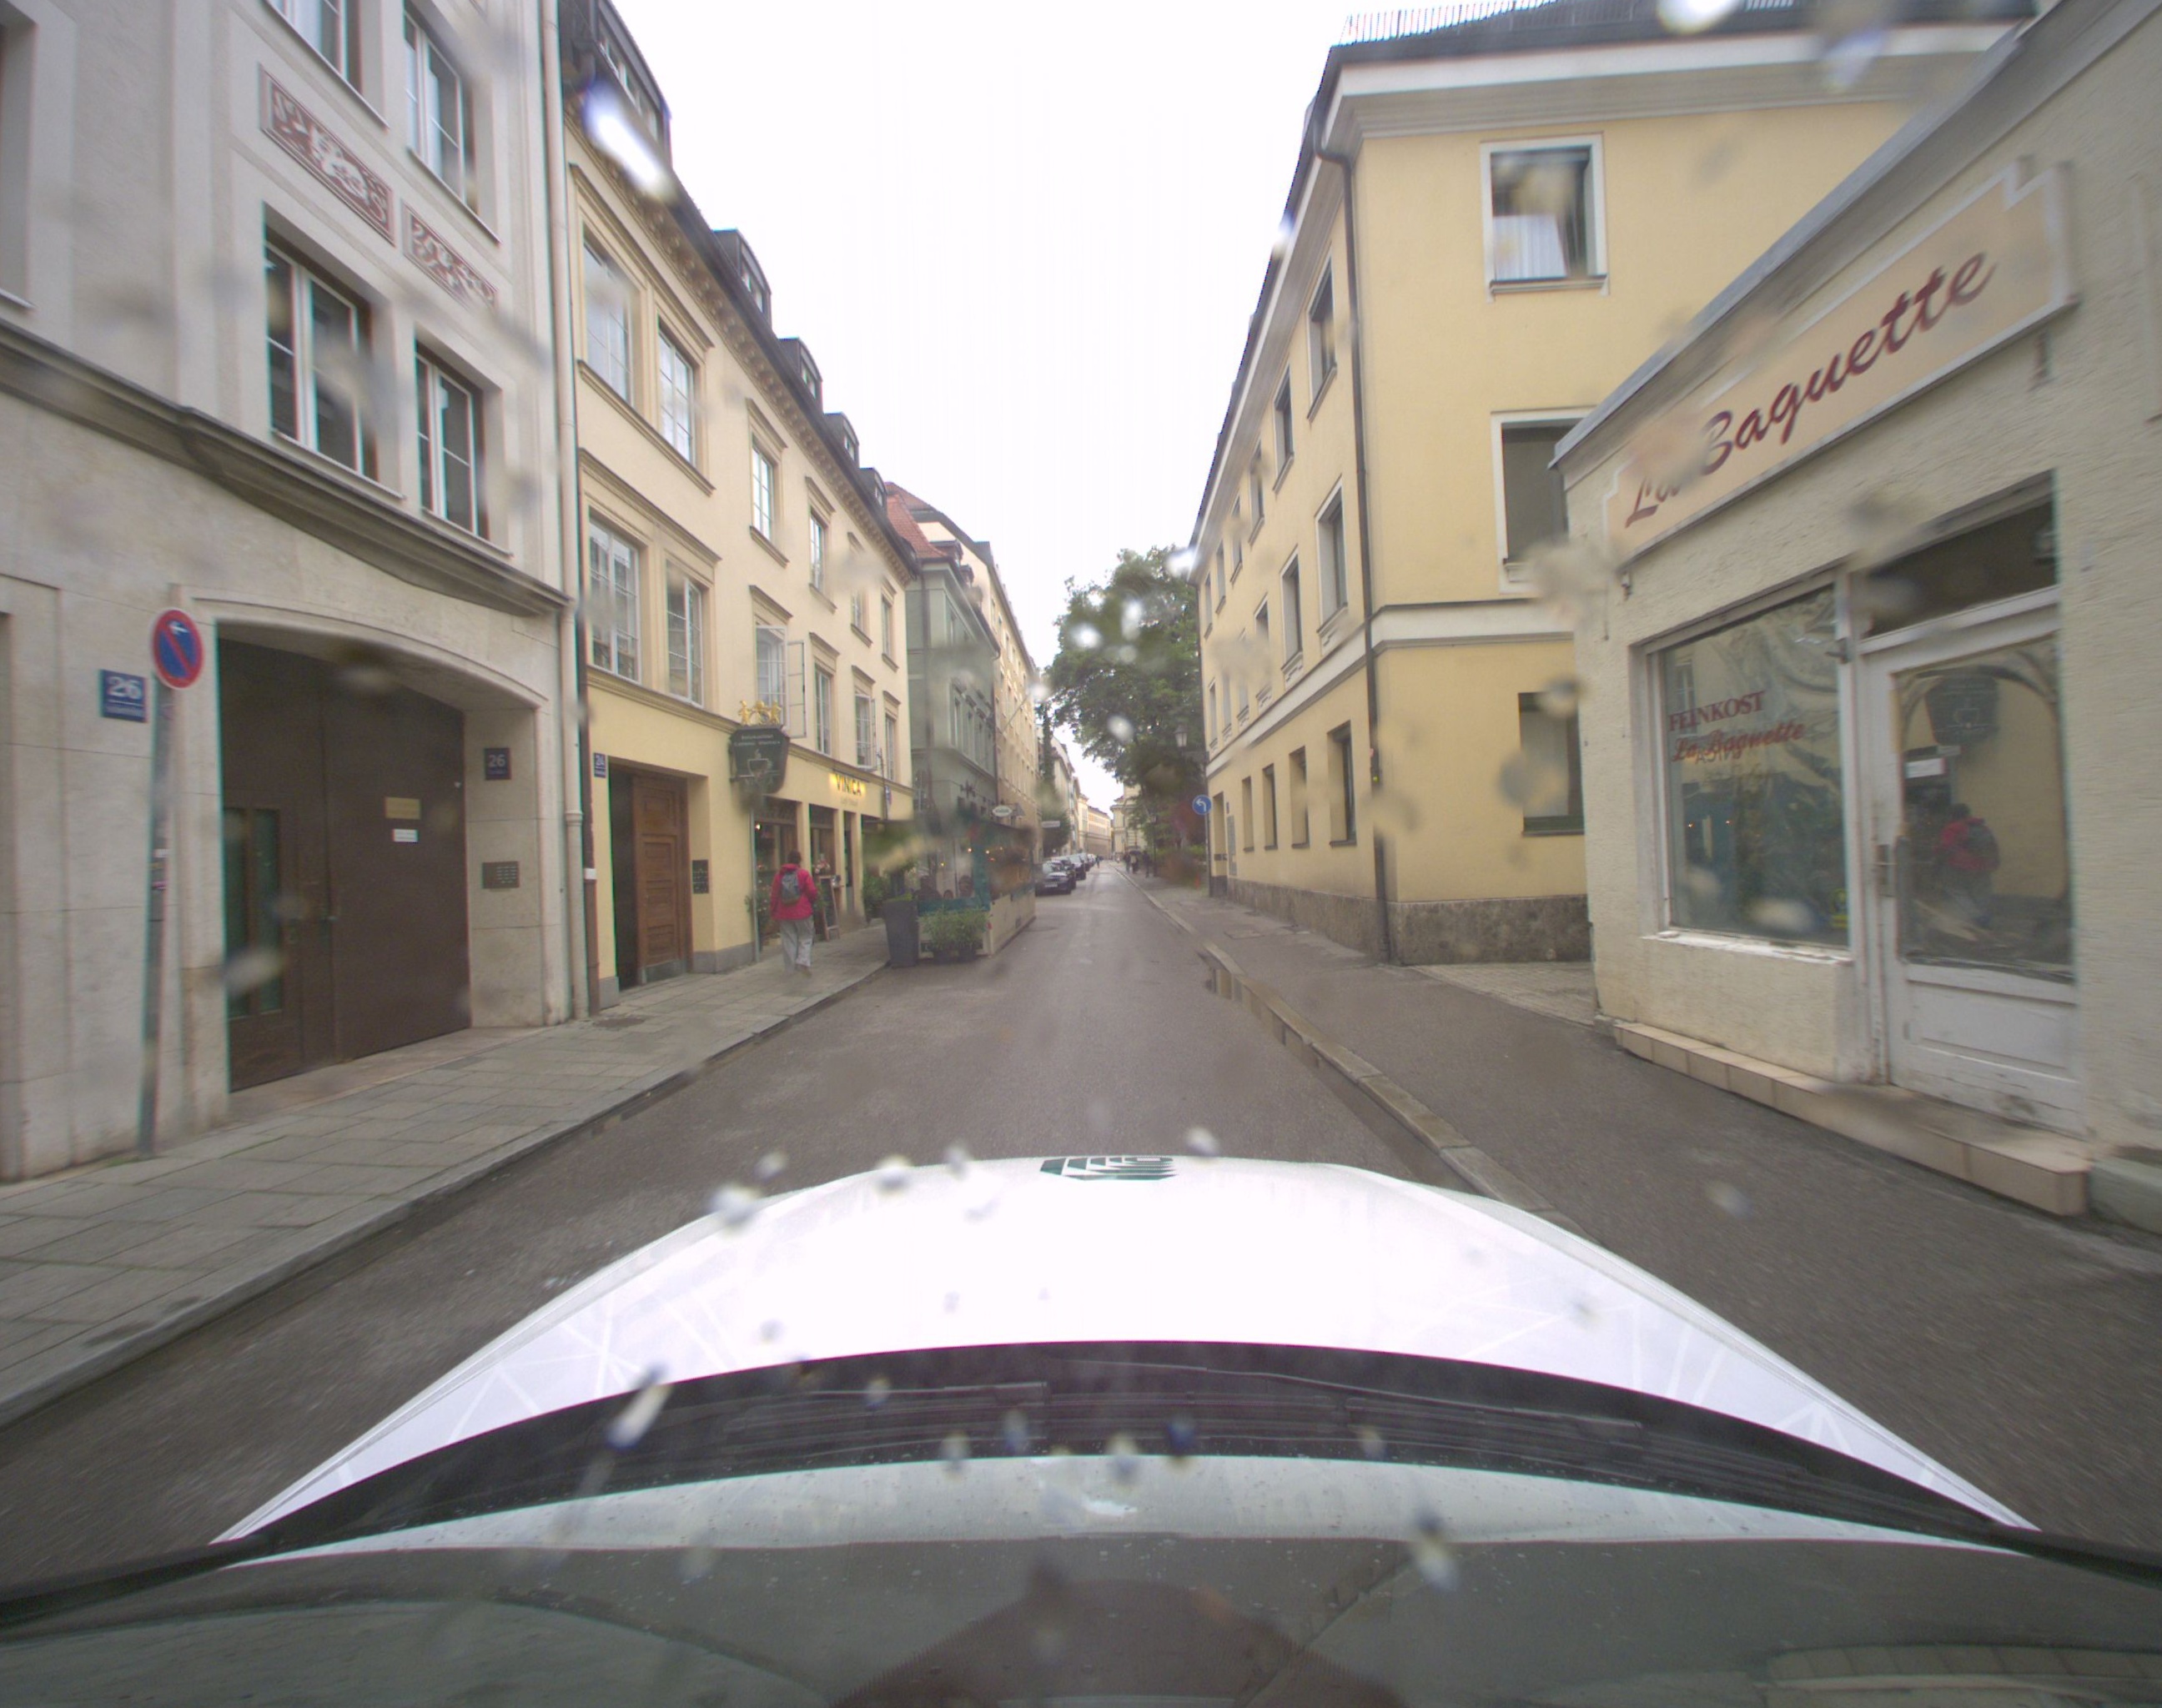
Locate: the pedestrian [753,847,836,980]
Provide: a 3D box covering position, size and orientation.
[{"bbox_3d":[-3.867,0.779,11.051,0.763,1.708,0.785,-3,0,-1],"label":"pedestrian"}]

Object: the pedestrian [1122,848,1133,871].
[{"bbox_3d":[3.732,0.423,65.194,0.790,1.802,0.903,-2,0,2],"label":"pedestrian"}]

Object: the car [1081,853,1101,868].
[{"bbox_3d":[1.083,0.632,83.942,1.771,1.466,3.546,-2,0,4],"label":"car"}]

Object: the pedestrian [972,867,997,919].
[{"bbox_3d":[-2.414,0.967,20.410,0.508,1.237,0.630,-1,0,-1],"label":"pedestrian"}]

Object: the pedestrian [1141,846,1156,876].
[{"bbox_3d":[4.169,0.451,50.304,0.877,1.802,1.047,-2,0,2],"label":"pedestrian"}]

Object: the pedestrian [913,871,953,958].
[{"bbox_3d":[-2.371,0.958,13.093,0.508,1.326,0.630,-1,0,-1],"label":"pedestrian"}]

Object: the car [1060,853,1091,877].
[{"bbox_3d":[-0.348,0.707,54.224,1.771,1.466,3.546,-2,0,4],"label":"car"}]

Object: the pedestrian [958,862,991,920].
[{"bbox_3d":[-2.545,0.877,19.503,0.671,1.326,0.696,-1,0,-1],"label":"pedestrian"}]

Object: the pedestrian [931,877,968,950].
[{"bbox_3d":[-2.268,1.017,14.103,0.508,1.187,0.630,-1,0,-1],"label":"pedestrian"}]

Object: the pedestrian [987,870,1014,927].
[{"bbox_3d":[-1.729,0.955,17.563,0.508,1.175,0.630,-1,0,-1],"label":"pedestrian"}]

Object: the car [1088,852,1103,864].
[{"bbox_3d":[1.865,0.502,104.609,1.771,1.466,3.546,-2,0,4],"label":"car"}]

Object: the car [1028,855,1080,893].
[{"bbox_3d":[-1.081,0.821,34.672,1.771,1.466,3.667,-2,0,4],"label":"car"}]

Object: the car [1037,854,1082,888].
[{"bbox_3d":[-0.989,0.786,39.270,1.771,1.466,3.546,-2,0,4],"label":"car"}]

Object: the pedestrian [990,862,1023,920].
[{"bbox_3d":[-1.763,0.859,19.326,0.671,1.326,0.696,-1,0,-1],"label":"pedestrian"}]

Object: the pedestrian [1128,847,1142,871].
[{"bbox_3d":[4.012,0.366,60.565,1.011,1.802,1.350,-2,0,2],"label":"pedestrian"}]
